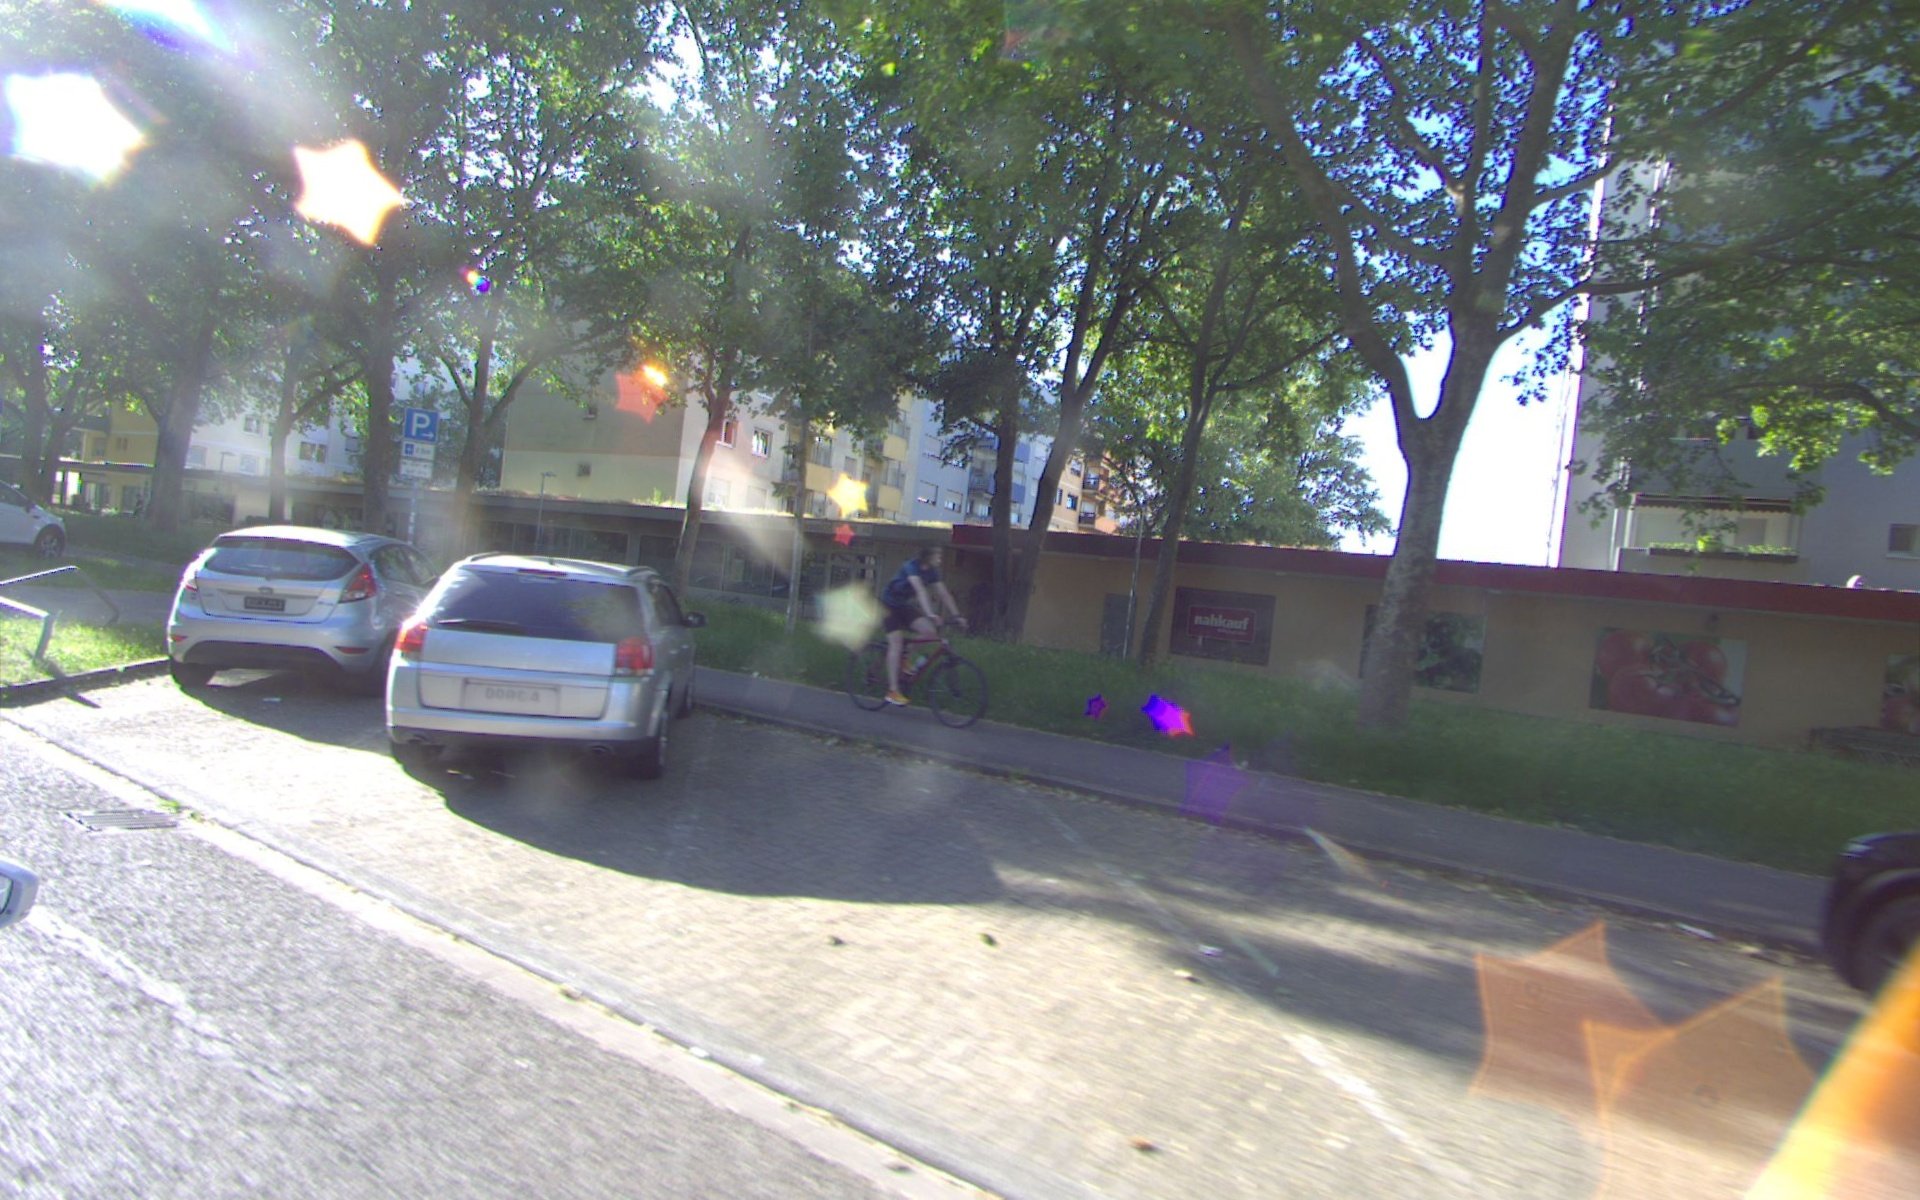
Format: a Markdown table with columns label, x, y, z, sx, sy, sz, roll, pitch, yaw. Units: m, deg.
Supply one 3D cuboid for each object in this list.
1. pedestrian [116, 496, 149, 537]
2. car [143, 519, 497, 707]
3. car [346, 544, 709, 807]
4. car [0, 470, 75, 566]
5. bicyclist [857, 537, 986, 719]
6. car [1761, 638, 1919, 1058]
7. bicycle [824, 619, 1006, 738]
| label | x | y | z | sx | sy | sz | roll | pitch | yaw |
| --- | --- | --- | --- | --- | --- | --- | --- | --- | --- |
| pedestrian | -42.575 | -4.275 | 51.753 | 0.855 | 1.938 | 0.874 | 7 | 1 | 24 |
| car | -6.060 | 0.059 | 10.093 | 1.561 | 1.391 | 3.929 | 5 | 1 | -11 |
| car | -3.070 | 0.409 | 8.058 | 1.692 | 1.430 | 4.174 | 6 | 1 | -11 |
| car | -18.313 | -1.579 | 17.991 | 1.730 | 1.727 | 4.020 | 6 | 1 | -9 |
| bicyclist | -0.405 | 0.283 | 10.592 | 1.006 | 1.762 | 0.623 | 7 | 1 | 32 |
| car | 5.186 | 1.197 | 2.812 | 1.730 | 1.727 | 4.493 | 6 | 1 | -9 |
| bicycle | -0.500 | 0.794 | 10.622 | 1.810 | 0.979 | 0.622 | 7 | 1 | 32 |
